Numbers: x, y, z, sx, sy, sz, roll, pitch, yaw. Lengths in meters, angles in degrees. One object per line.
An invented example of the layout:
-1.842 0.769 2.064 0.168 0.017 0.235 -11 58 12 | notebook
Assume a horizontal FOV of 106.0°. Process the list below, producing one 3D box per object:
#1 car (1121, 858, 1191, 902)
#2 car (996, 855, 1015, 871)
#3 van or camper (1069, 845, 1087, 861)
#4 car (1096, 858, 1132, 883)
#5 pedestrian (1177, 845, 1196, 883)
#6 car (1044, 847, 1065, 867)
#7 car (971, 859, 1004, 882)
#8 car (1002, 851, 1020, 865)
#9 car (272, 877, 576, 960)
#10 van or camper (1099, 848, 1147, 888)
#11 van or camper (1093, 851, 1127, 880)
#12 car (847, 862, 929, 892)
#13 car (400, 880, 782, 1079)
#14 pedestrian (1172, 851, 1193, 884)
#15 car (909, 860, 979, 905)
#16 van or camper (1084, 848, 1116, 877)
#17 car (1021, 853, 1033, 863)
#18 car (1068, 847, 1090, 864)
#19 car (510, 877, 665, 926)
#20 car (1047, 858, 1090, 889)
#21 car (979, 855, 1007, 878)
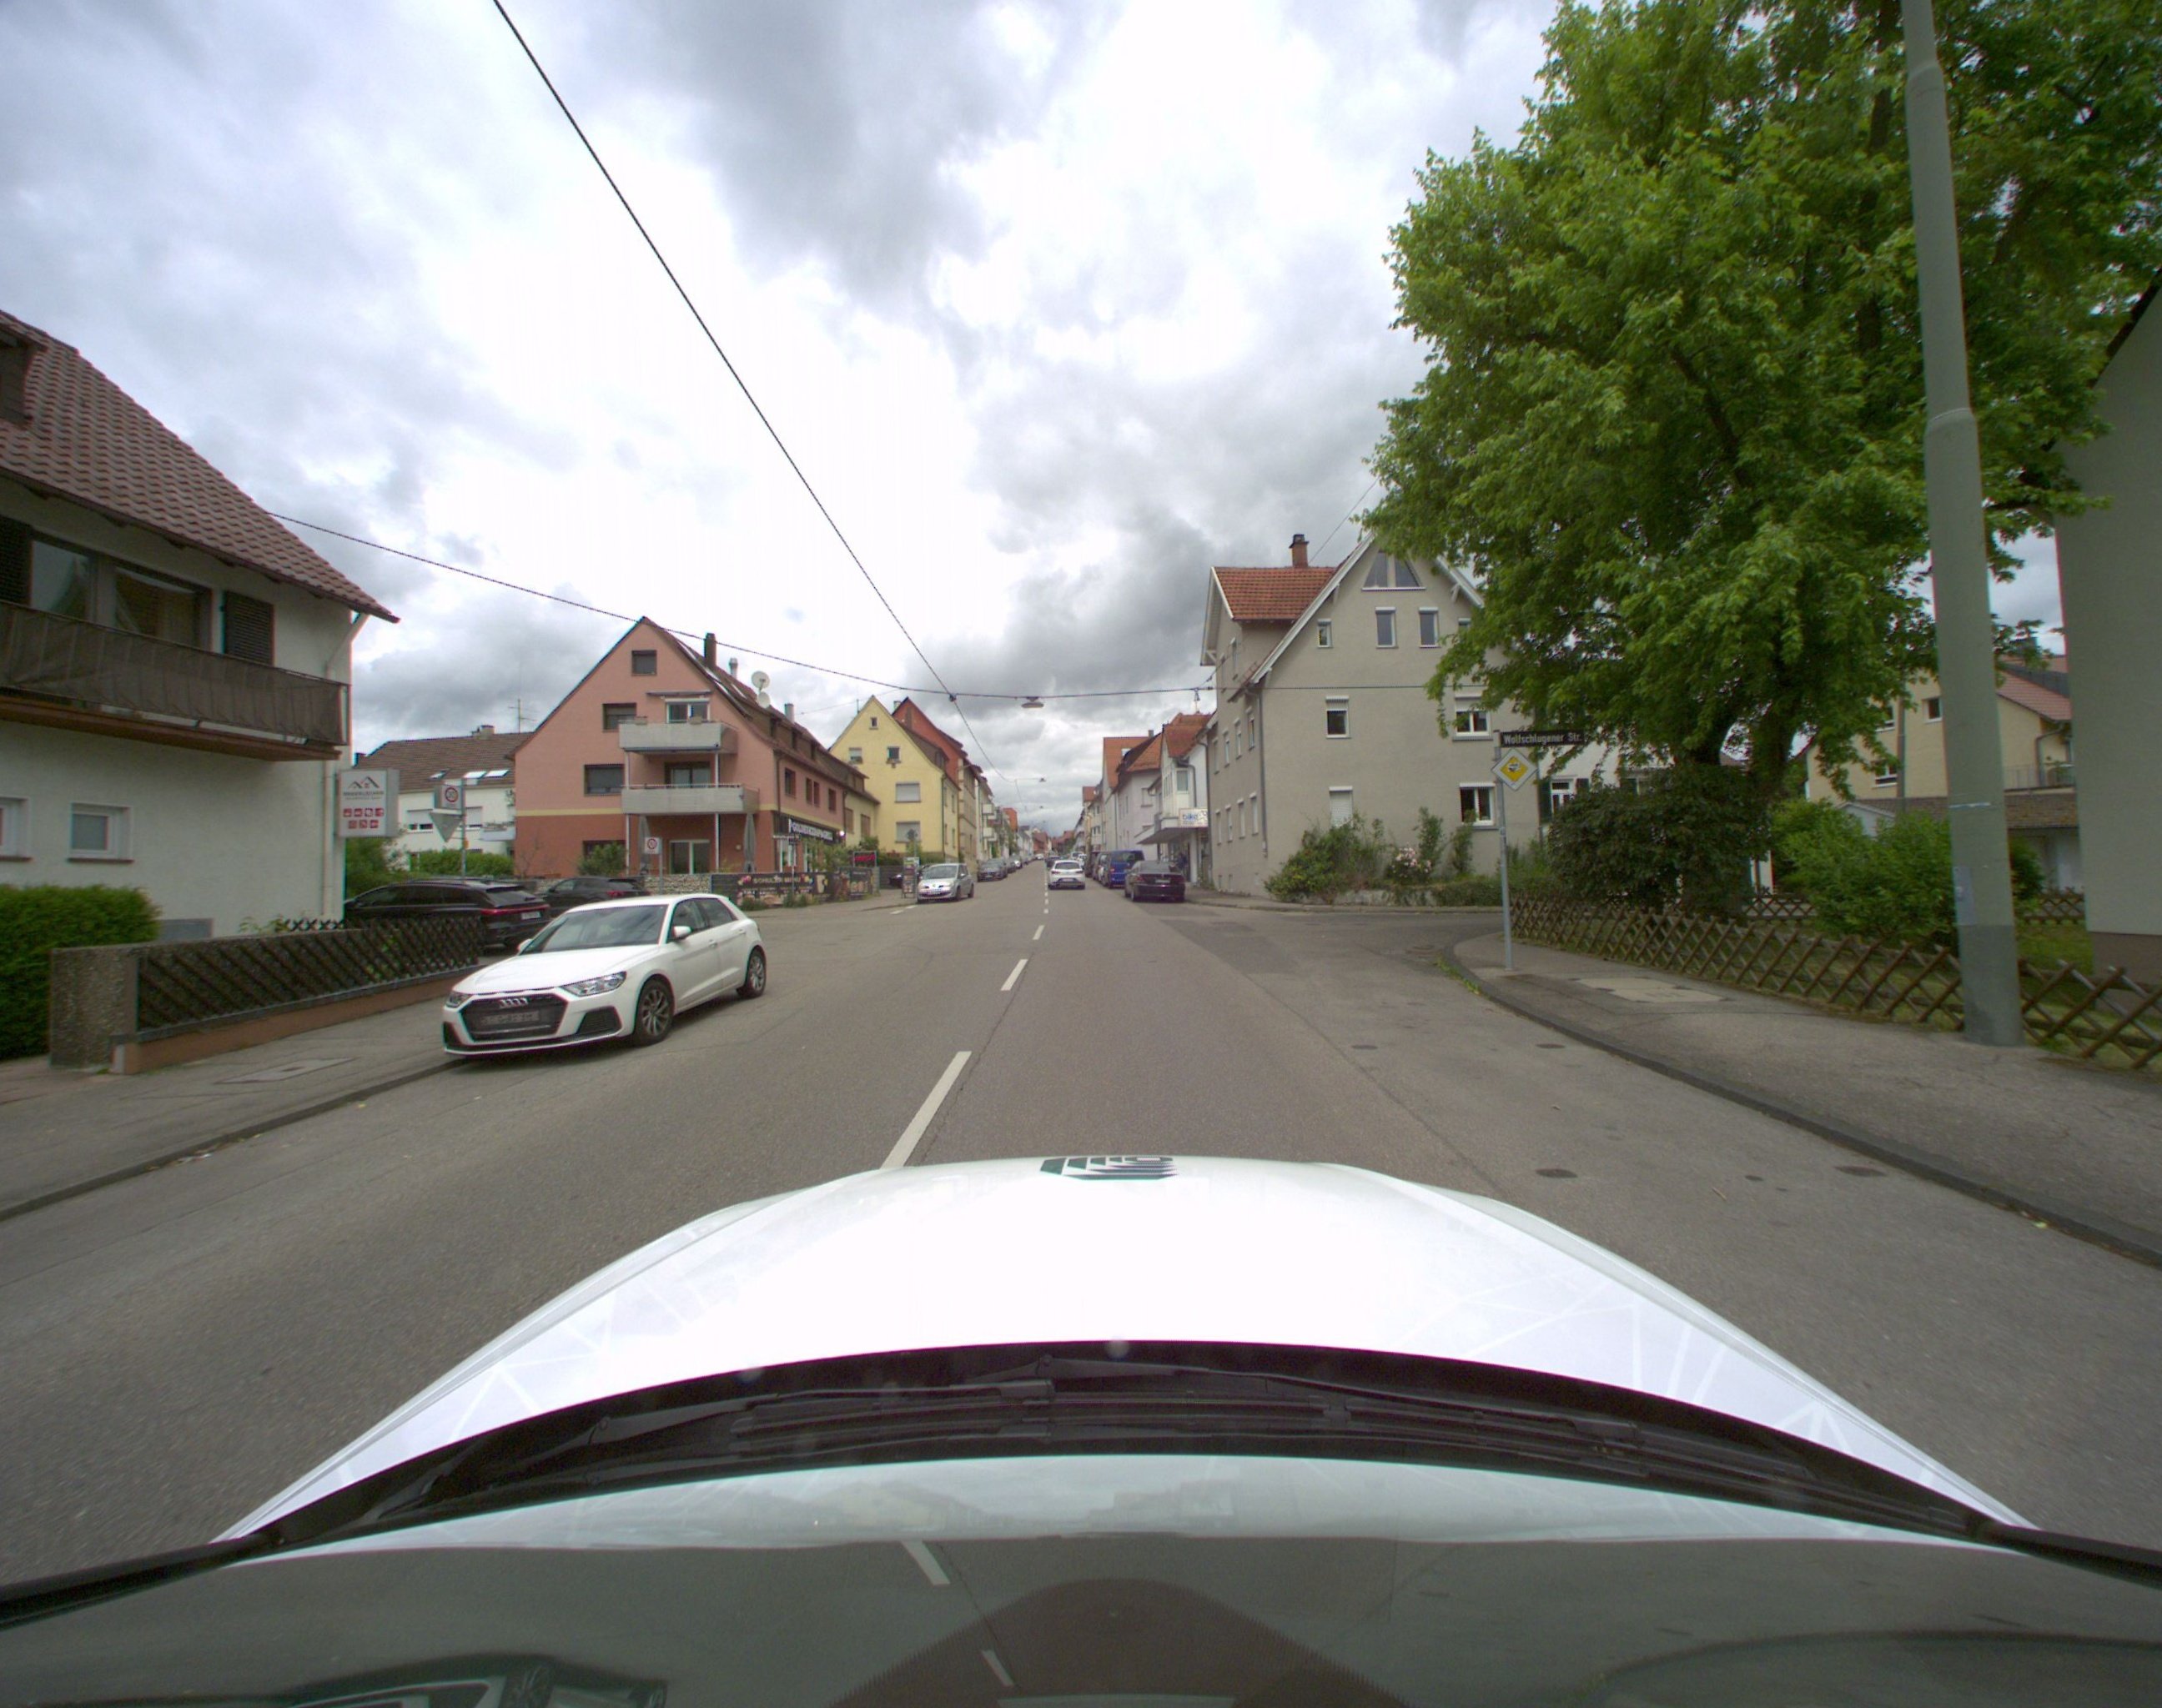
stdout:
2.740 0.906 30.716 1.989 1.518 4.886 0 0 -3 | car
-7.656 0.890 82.534 1.638 1.473 4.175 -4 0 -2 | car
-0.418 -0.093 106.022 1.937 2.054 4.555 -1 0 -5 | van or camper
1.909 0.950 48.531 1.710 1.436 4.634 0 0 -3 | car
5.621 0.545 43.495 0.752 2.014 0.623 -1 -1 32 | pedestrian
-2.858 0.322 88.106 2.148 2.014 3.995 0 0 -4 | car
-6.916 1.183 60.775 1.988 1.472 4.241 -5 0 -2 | car
-8.813 0.515 102.825 1.989 1.651 3.996 -2 0 -3 | car
-13.048 1.250 16.379 4.500 1.472 2.001 -1 0 2 | car
2.092 0.690 41.964 1.922 1.925 4.825 -1 0 -3 | van or camper
1.878 0.732 53.885 1.867 1.829 4.675 0 0 -3 | van or camper
-11.059 1.328 46.858 4.219 1.473 1.998 -3 -4 -2 | car
-4.928 1.141 8.952 1.721 1.458 3.897 -5 0 0 | car
5.317 0.717 42.541 0.862 1.725 0.623 -1 -1 32 | pedestrian
-5.662 1.139 34.168 1.825 1.578 4.036 -5 0 4 | car
1.369 0.598 61.644 1.989 2.065 5.939 1 0 -3 | van or camper
-9.605 0.746 146.174 1.989 1.651 4.175 -2 0 -3 | car
-0.247 0.158 83.649 1.937 1.693 3.995 1 0 -4 | car
-16.345 1.566 27.021 4.369 1.472 2.009 -3 -3 18 | car
-0.691 0.933 40.806 1.937 1.439 3.994 -1 0 -4 | car
-7.174 0.953 66.680 1.989 1.651 4.548 -5 0 -3 | car
